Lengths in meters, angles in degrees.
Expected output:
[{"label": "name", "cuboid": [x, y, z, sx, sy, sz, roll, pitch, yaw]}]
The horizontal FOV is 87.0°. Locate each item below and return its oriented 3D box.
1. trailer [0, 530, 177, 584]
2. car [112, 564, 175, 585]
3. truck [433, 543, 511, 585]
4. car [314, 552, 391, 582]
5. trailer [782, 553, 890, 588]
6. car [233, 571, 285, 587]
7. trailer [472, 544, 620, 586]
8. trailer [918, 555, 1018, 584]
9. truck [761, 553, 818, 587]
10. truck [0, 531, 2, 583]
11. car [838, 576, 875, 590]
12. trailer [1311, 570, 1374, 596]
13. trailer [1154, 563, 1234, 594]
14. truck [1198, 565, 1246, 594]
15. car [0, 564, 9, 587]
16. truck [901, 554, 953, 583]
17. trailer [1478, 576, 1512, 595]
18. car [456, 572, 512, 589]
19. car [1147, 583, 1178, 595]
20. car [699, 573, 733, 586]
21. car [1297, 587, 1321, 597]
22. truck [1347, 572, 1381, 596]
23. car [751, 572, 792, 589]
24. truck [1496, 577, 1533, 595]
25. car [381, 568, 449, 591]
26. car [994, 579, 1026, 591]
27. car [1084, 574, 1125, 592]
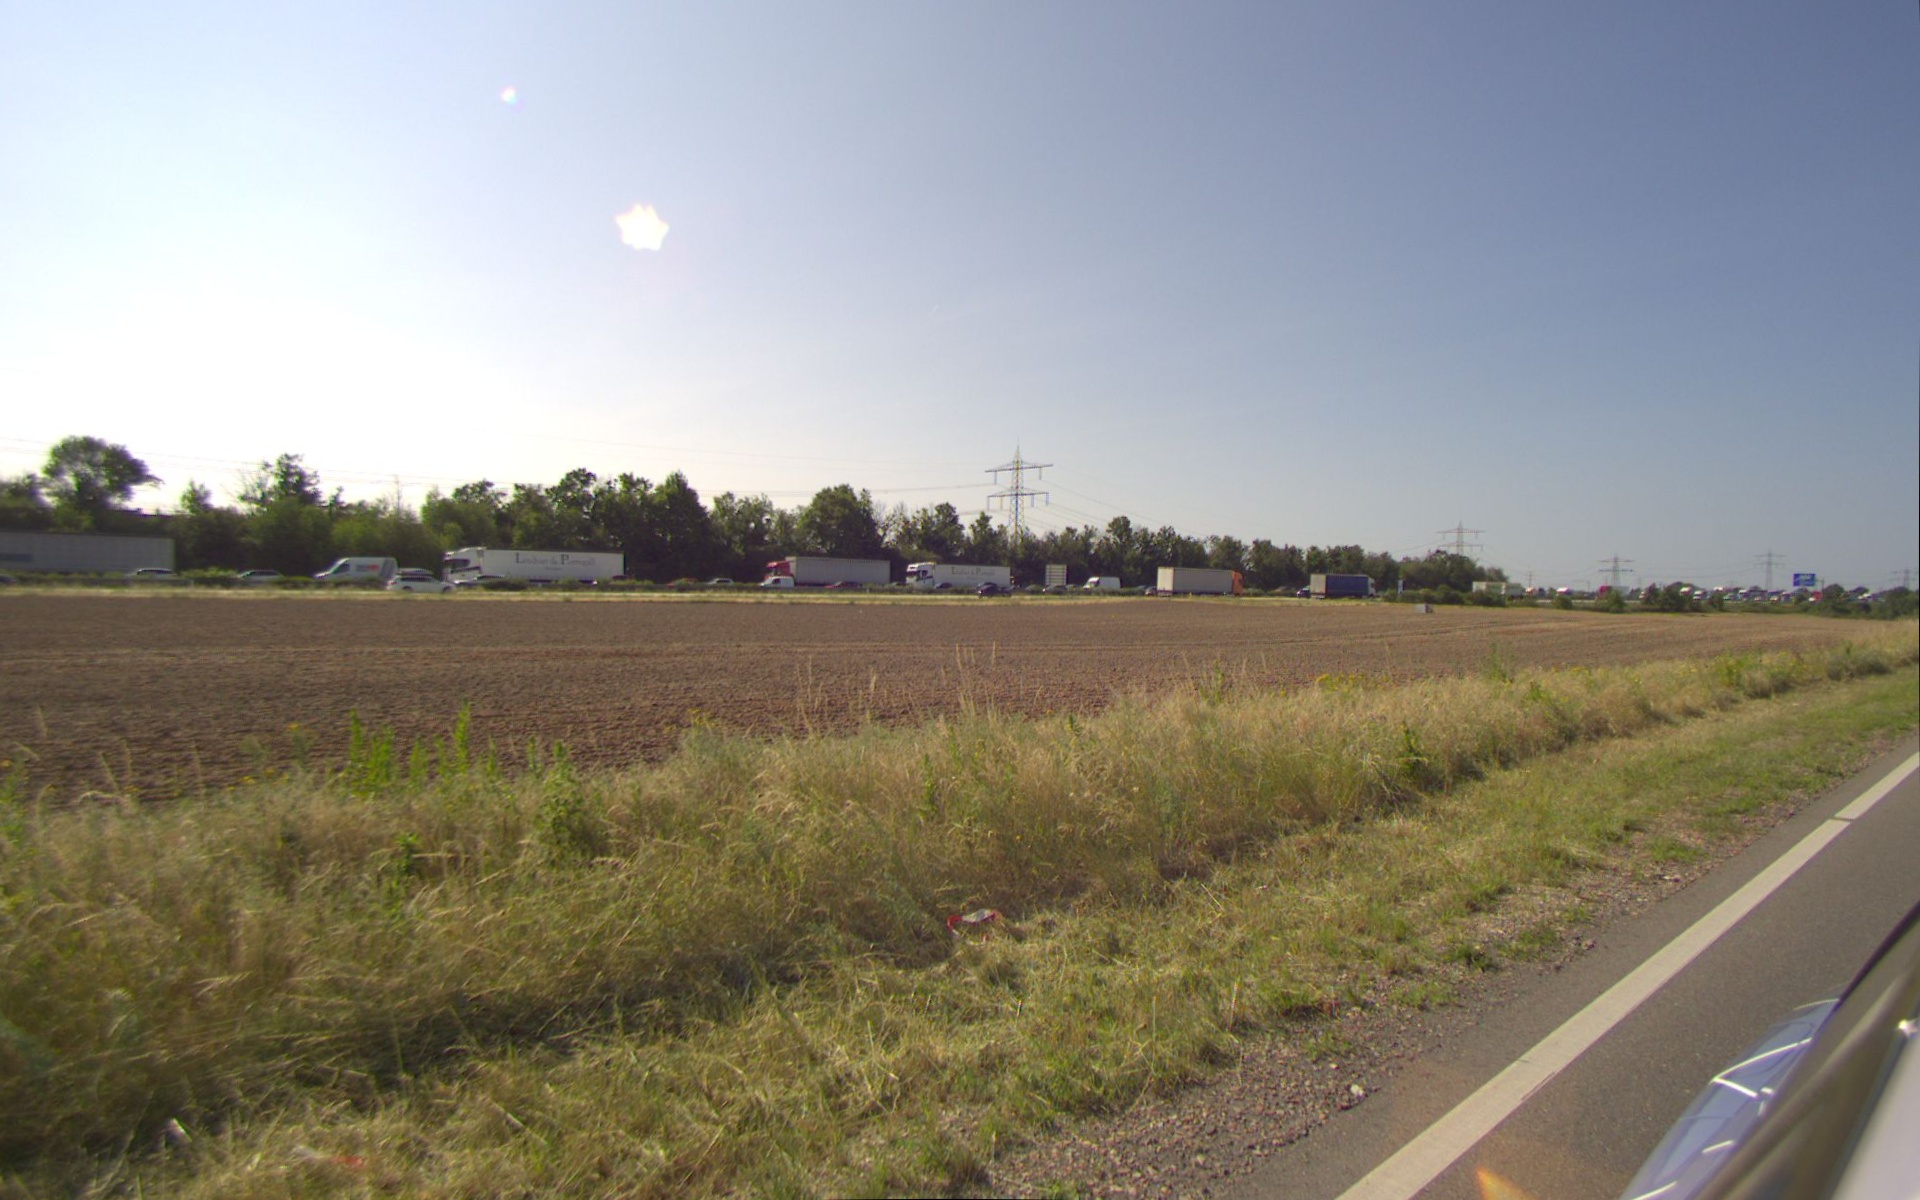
[{"label": "trailer", "cuboid": [-66.963, -3.141, 75.536, 13.384, 3.780, 3.079, 0, 1, -39]}, {"label": "car", "cuboid": [-59.510, -1.844, 73.808, 3.539, 1.403, 1.494, 1, -1, -41]}, {"label": "truck", "cuboid": [-45.433, -3.294, 94.294, 6.008, 3.780, 3.078, 0, 1, -40]}, {"label": "car", "cuboid": [-49.459, -2.672, 82.461, 5.145, 2.228, 1.908, 1, -1, -41]}, {"label": "trailer", "cuboid": [-14.625, -3.461, 120.861, 13.540, 3.780, 2.951, 0, 1, -41]}, {"label": "car", "cuboid": [-54.053, -1.610, 78.034, 3.125, 1.166, 1.397, 1, -1, -41]}, {"label": "trailer", "cuboid": [-40.154, -3.291, 98.706, 13.127, 3.780, 3.078, 0, 1, -40]}, {"label": "trailer", "cuboid": [1.258, -3.981, 134.337, 14.819, 3.575, 3.209, 0, 2, -41]}, {"label": "truck", "cuboid": [-19.627, -3.456, 116.566, 5.766, 3.780, 2.951, 0, 0, -41]}, {"label": "truck", "cuboid": [-71.925, -3.124, 71.440, 5.977, 3.780, 3.079, 0, 1, -39]}, {"label": "car", "cuboid": [-11.772, -1.914, 115.062, 4.022, 1.528, 1.706, 0, 0, -41]}, {"label": "trailer", "cuboid": [60.716, -2.589, 160.229, 14.340, 3.850, 3.076, 1, 0, -42]}, {"label": "trailer", "cuboid": [31.680, -2.846, 136.649, 13.475, 3.897, 3.109, 0, 0, -40]}, {"label": "truck", "cuboid": [36.394, -2.831, 140.632, 6.827, 3.897, 3.109, 0, 0, -40]}, {"label": "car", "cuboid": [-61.169, -1.521, 62.085, 4.021, 1.391, 1.706, 0, 0, -40]}, {"label": "truck", "cuboid": [-4.183, -3.993, 129.526, 6.002, 3.575, 3.209, 0, 2, -41]}, {"label": "trailer", "cuboid": [104.024, -2.816, 196.728, 8.566, 3.458, 2.798, 0, 1, -41]}, {"label": "car", "cuboid": [-42.259, -1.752, 89.890, 4.173, 1.403, 1.854, 1, -1, -41]}, {"label": "car", "cuboid": [27.609, -1.499, 137.945, 4.392, 1.633, 1.910, 0, 0, -39]}, {"label": "car", "cuboid": [-25.051, -2.061, 103.915, 3.236, 1.300, 1.342, 0, 0, -43]}, {"label": "car", "cuboid": [56.177, -1.324, 162.760, 3.825, 1.595, 1.997, 0, 0, -40]}, {"label": "truck", "cuboid": [65.740, -2.583, 164.736, 5.515, 3.850, 3.076, 1, 0, -42]}, {"label": "car", "cuboid": [-20.106, -2.069, 108.018, 4.023, 1.659, 1.705, 0, 0, -41]}, {"label": "truck", "cuboid": [111.357, -2.747, 203.115, 10.926, 3.521, 2.811, 0, 1, -41]}, {"label": "car", "cuboid": [-40.208, -1.515, 74.697, 4.122, 1.563, 1.706, 1, -1, -41]}, {"label": "car", "cuboid": [6.535, -1.906, 132.325, 4.022, 1.528, 1.706, 0, 0, -41]}, {"label": "car", "cuboid": [20.659, -2.376, 144.387, 6.299, 2.478, 2.041, 0, 0, -40]}]
